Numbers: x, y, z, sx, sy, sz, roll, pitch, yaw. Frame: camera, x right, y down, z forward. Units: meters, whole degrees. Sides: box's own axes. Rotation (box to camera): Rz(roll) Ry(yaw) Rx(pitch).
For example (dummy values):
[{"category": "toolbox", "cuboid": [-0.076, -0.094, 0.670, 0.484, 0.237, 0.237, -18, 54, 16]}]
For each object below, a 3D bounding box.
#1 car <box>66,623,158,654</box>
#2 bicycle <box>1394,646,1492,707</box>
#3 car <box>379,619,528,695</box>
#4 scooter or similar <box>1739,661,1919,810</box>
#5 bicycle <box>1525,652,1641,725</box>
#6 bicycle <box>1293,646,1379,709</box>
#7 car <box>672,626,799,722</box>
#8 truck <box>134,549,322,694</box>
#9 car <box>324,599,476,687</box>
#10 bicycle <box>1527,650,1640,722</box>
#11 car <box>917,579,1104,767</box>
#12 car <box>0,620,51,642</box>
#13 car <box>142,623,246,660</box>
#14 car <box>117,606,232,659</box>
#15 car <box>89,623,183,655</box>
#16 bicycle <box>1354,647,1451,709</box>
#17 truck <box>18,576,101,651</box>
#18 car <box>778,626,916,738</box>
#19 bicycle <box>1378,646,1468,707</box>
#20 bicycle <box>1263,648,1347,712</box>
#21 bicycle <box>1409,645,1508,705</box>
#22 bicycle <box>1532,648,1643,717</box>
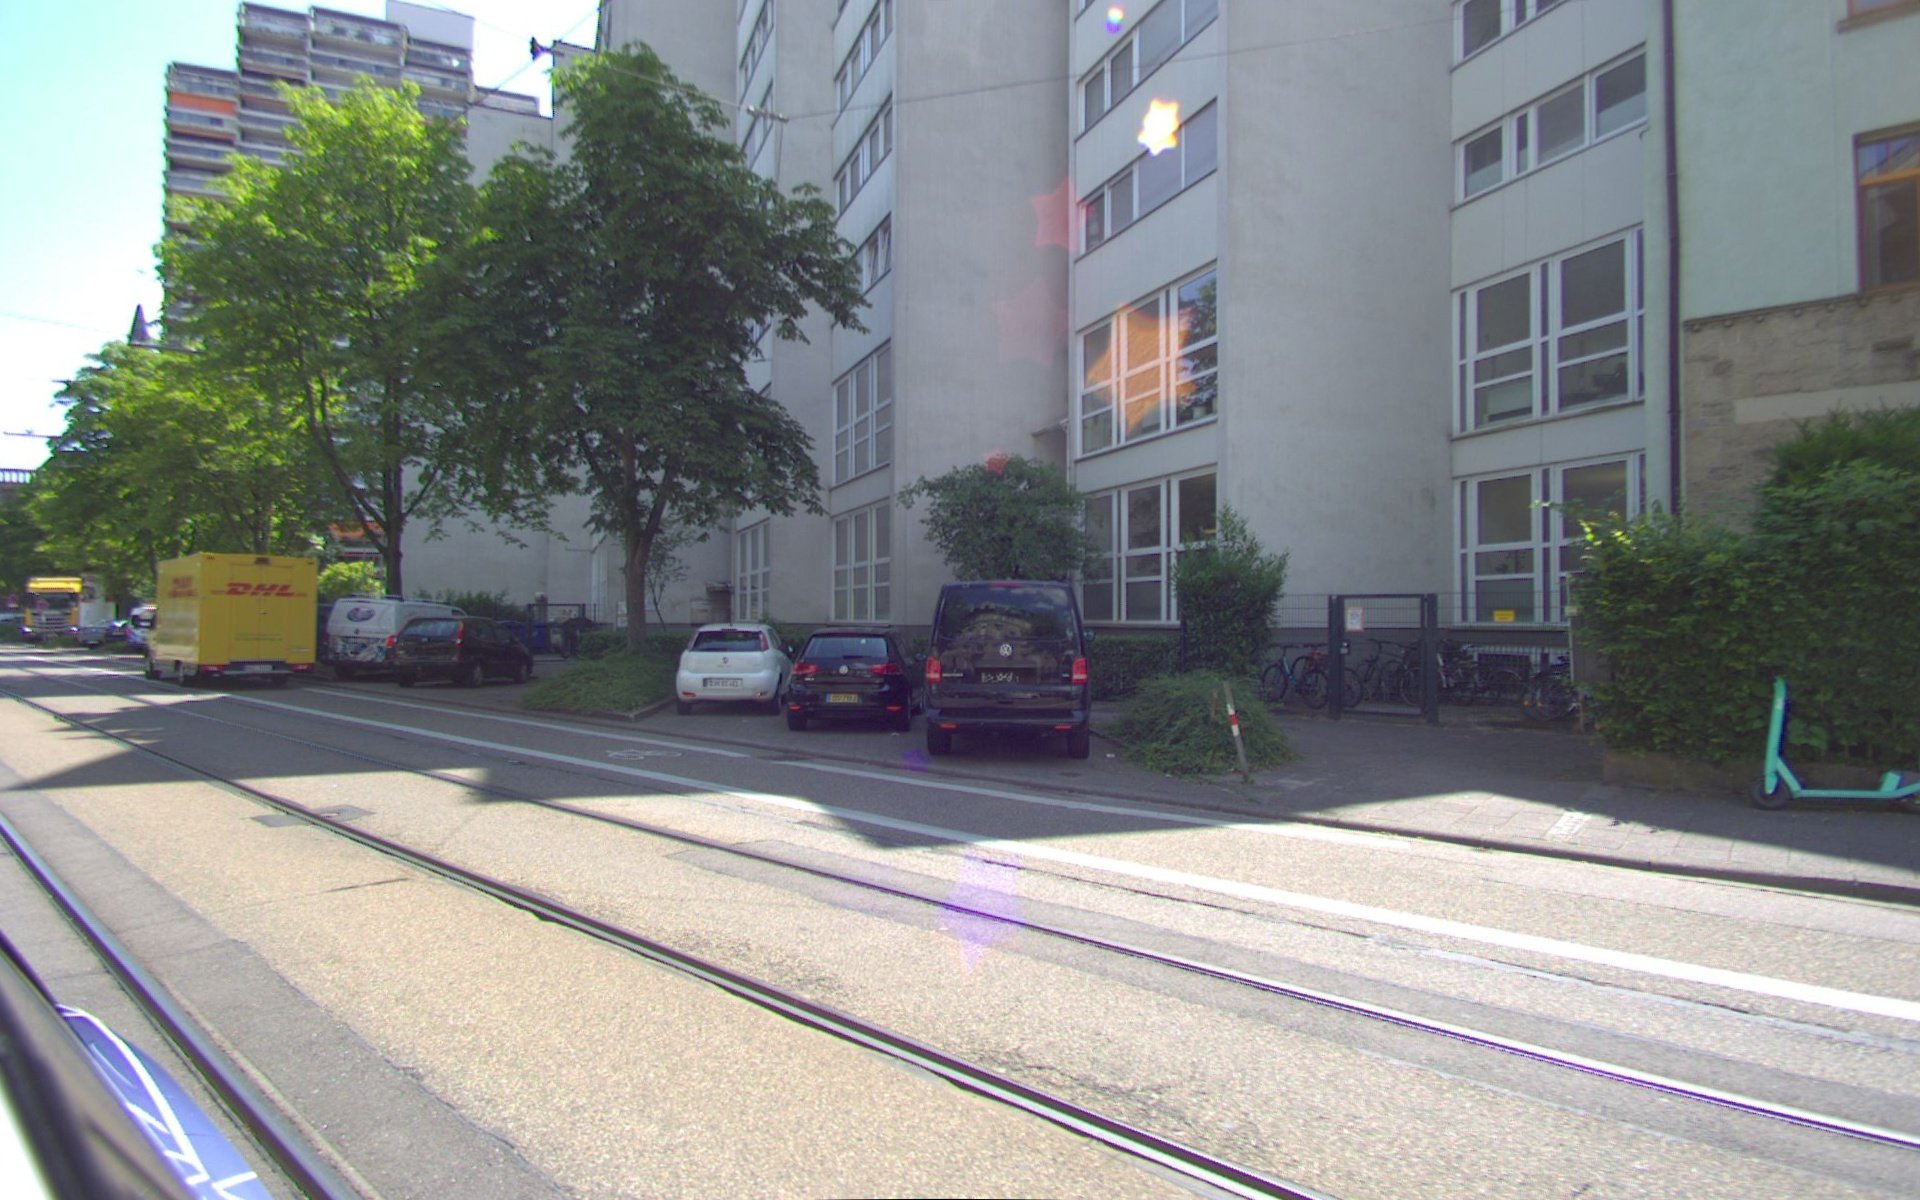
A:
[{"category": "car", "cuboid": [-41.344, 1.848, 49.437, 1.657, 1.465, 3.679, 0, -1, -5]}, {"category": "bicycle", "cuboid": [8.685, 1.353, 18.262, 0.490, 1.004, 1.646, 1, -2, -25]}, {"category": "car", "cuboid": [-11.523, 1.249, 23.291, 1.658, 1.587, 3.685, 1, -1, -2]}, {"category": "scooter or similar", "cuboid": [6.606, 0.985, 7.520, 1.217, 1.028, 0.403, -1, -2, 26]}, {"category": "bicycle", "cuboid": [9.114, 1.276, 14.833, 1.412, 1.004, 0.399, -1, -2, 33]}, {"category": "bicycle", "cuboid": [6.447, 1.316, 17.407, 0.490, 1.004, 1.455, 1, -2, -25]}, {"category": "car", "cuboid": [-3.775, 1.197, 17.547, 1.700, 1.465, 3.631, 0, -1, -5]}, {"category": "truck", "cuboid": [-17.206, 0.519, 23.608, 6.514, 2.943, 2.276, -1, -2, 43]}, {"category": "car", "cuboid": [-14.059, 1.054, 25.662, 1.580, 2.058, 4.052, 0, -1, 0]}, {"category": "bicycle", "cuboid": [9.338, 1.271, 15.185, 1.412, 1.004, 0.399, -1, -2, 33]}, {"category": "car", "cuboid": [0.658, 0.811, 12.817, 1.937, 1.940, 4.581, 0, -1, 4]}, {"category": "car", "cuboid": [-77.401, 2.527, 82.765, 1.977, 1.821, 4.318, 0, -1, 8]}, {"category": "car", "cuboid": [-31.049, 1.657, 41.149, 1.657, 1.465, 3.679, 0, -1, -5]}, {"category": "car", "cuboid": [-33.484, 1.361, 43.315, 1.849, 2.124, 4.594, 0, -1, -8]}, {"category": "car", "cuboid": [-38.786, 1.806, 47.764, 1.657, 1.430, 3.679, 0, -1, -5]}, {"category": "bicycle", "cuboid": [7.782, 1.355, 17.863, 0.490, 1.004, 1.646, 1, -2, -25]}, {"category": "truck", "cuboid": [-55.325, 0.892, 62.421, 2.633, 4.212, 10.498, 1, -2, -35]}, {"category": "car", "cuboid": [-1.572, 1.124, 15.302, 1.659, 1.465, 3.944, 0, -1, 0]}, {"category": "bicycle", "cuboid": [8.265, 1.349, 18.133, 0.490, 1.004, 1.491, 1, -2, -25]}, {"category": "bicycle", "cuboid": [5.820, 1.324, 17.132, 0.464, 1.004, 1.455, 1, -2, -25]}, {"category": "bicycle", "cuboid": [9.064, 1.349, 18.462, 0.490, 1.004, 1.657, 1, -2, -25]}, {"category": "bicycle", "cuboid": [9.736, 1.263, 15.731, 1.414, 1.004, 0.399, -1, -2, 39]}]
